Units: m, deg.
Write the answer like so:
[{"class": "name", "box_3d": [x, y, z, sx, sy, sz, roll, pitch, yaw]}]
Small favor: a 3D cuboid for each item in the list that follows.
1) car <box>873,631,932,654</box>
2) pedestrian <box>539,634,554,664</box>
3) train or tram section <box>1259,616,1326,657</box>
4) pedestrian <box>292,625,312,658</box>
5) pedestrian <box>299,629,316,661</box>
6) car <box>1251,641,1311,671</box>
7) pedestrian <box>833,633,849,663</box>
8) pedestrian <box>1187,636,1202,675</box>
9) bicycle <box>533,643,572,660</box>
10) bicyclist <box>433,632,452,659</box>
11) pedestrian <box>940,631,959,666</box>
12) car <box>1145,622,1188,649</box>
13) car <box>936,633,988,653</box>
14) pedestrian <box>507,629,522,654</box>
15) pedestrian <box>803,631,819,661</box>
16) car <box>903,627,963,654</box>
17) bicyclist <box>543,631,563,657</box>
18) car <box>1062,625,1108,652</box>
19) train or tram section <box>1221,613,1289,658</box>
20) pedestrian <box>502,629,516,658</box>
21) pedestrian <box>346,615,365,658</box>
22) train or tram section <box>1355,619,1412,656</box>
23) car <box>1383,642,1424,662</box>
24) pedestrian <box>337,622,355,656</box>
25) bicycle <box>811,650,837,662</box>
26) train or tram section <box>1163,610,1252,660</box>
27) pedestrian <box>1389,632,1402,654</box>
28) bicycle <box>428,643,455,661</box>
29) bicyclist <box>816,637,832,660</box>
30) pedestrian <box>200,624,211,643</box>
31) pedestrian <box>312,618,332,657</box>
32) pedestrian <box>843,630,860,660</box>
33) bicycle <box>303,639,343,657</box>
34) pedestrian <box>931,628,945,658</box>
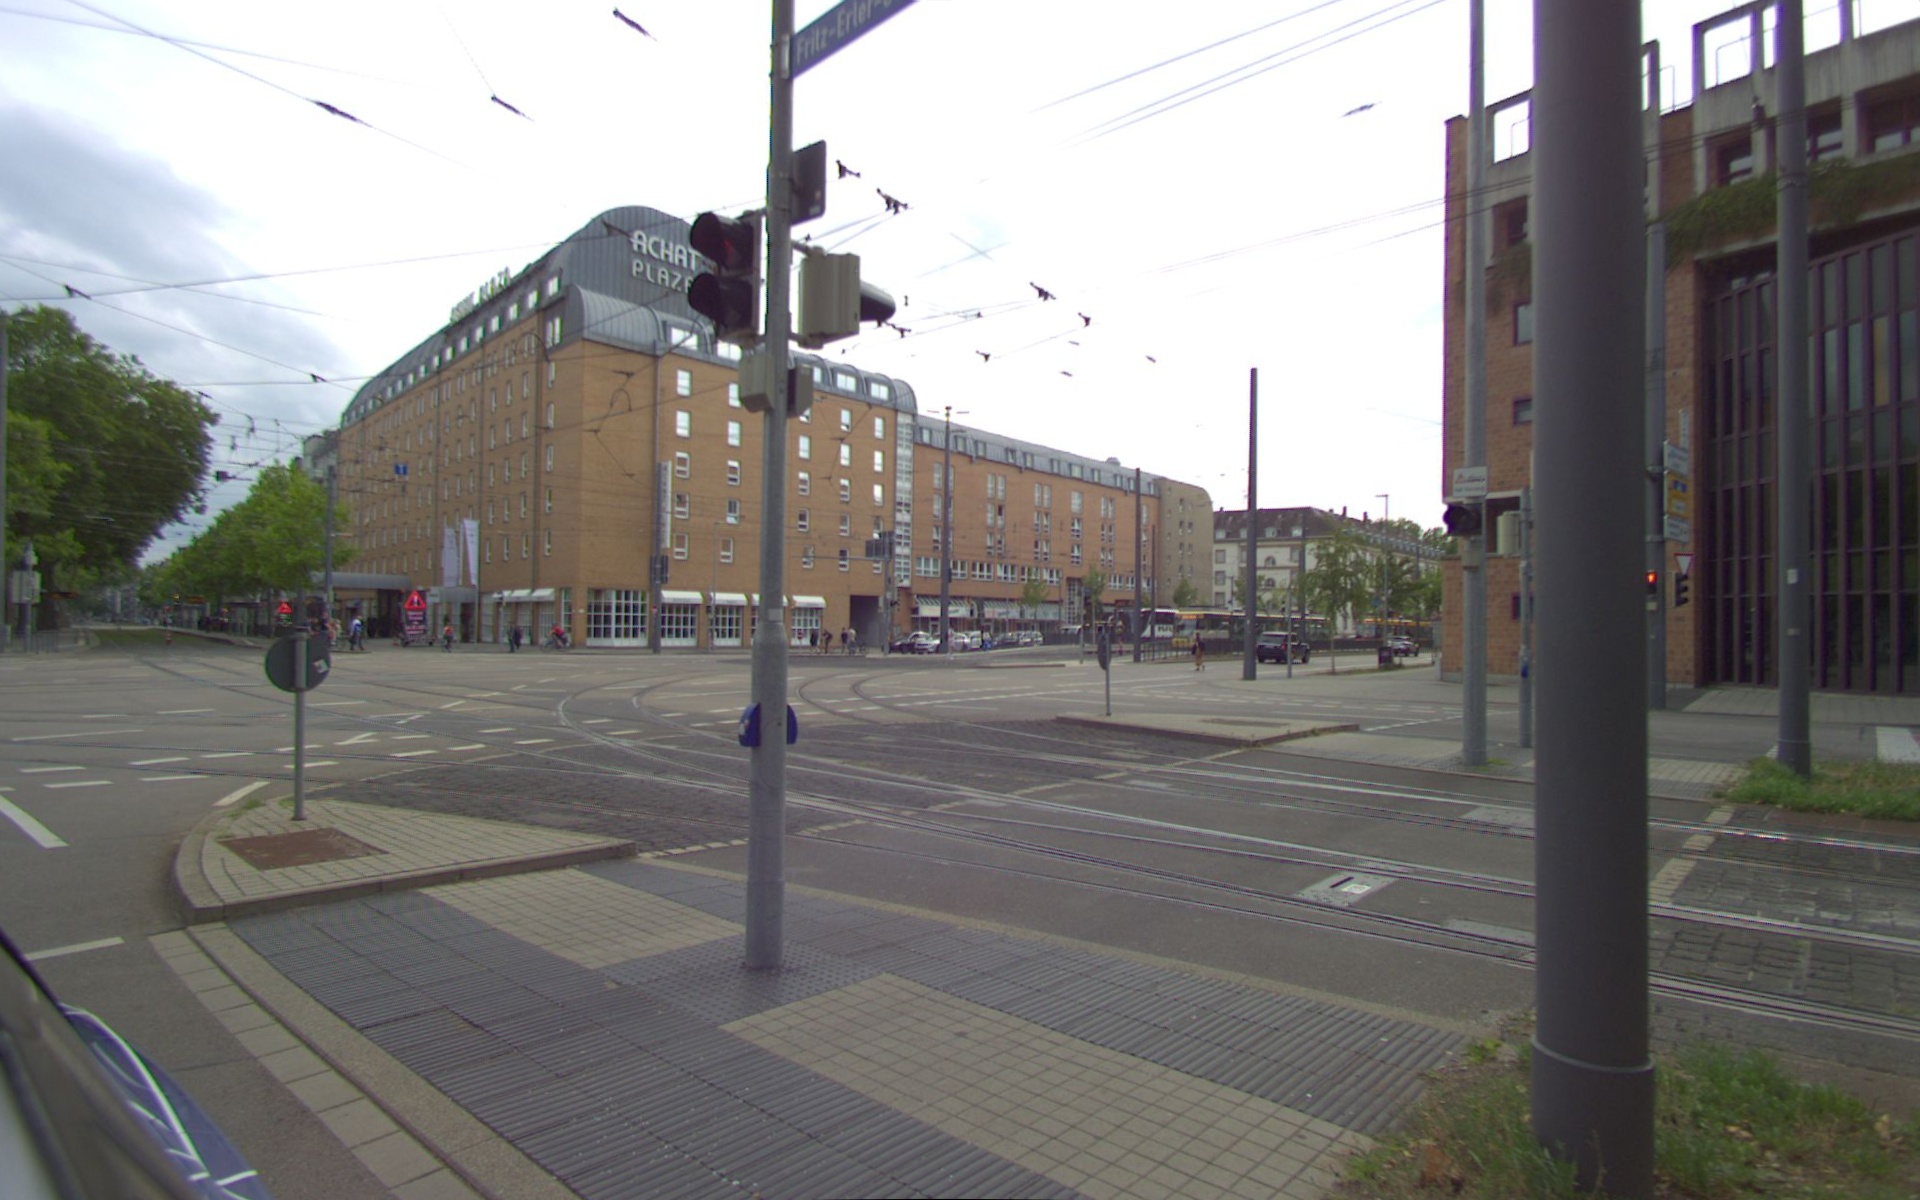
[{"class": "car", "box_3d": [-3.856, 2.861, 68.609, 1.799, 1.490, 3.947, -1, -3, 39]}, {"class": "pedestrian", "box_3d": [-24.741, 2.935, 60.581, 0.738, 1.745, 0.580, 1, -2, -15]}, {"class": "train or tram section", "box_3d": [29.109, 3.207, 88.298, 2.575, 3.477, 8.576, -1, -3, 40]}, {"class": "pedestrian", "box_3d": [-34.717, 2.197, 53.399, 0.533, 1.719, 0.677, 0, -2, 34]}, {"class": "pedestrian", "box_3d": [-35.502, 2.470, 55.032, 0.533, 1.719, 0.557, 0, -2, 34]}, {"class": "car", "box_3d": [18.328, 3.163, 57.687, 1.930, 1.620, 4.476, 0, -2, 36]}, {"class": "pedestrian", "box_3d": [-6.947, 2.814, 59.107, 0.749, 1.745, 0.571, 0, -2, 35]}, {"class": "pedestrian", "box_3d": [10.434, 2.482, 45.075, 0.460, 1.722, 0.475, -1, -3, 45]}, {"class": "bicycle", "box_3d": [-23.938, 3.025, 59.478, 2.028, 1.016, 0.641, 3, -2, -41]}, {"class": "bicyclist", "box_3d": [-29.407, 2.574, 57.487, 0.816, 1.513, 0.643, 0, -2, 38]}, {"class": "pedestrian", "box_3d": [-0.514, 2.462, 51.070, 0.750, 1.745, 0.570, 0, -2, 40]}, {"class": "car", "box_3d": [18.452, 3.204, 90.193, 1.700, 2.337, 5.017, -2, -3, 39]}, {"class": "car", "box_3d": [0.177, 3.148, 74.170, 1.700, 1.453, 3.948, 0, -2, 39]}, {"class": "pedestrian", "box_3d": [-27.500, 2.545, 62.423, 0.642, 1.518, 0.533, 1, -2, 8]}, {"class": "pedestrian", "box_3d": [-9.025, 2.788, 61.399, 0.749, 1.745, 0.571, -1, -3, 35]}, {"class": "car", "box_3d": [-1.763, 2.677, 67.294, 1.799, 1.697, 3.947, 0, -2, 39]}, {"class": "bicyclist", "box_3d": [-23.928, 2.583, 59.500, 0.852, 1.513, 0.637, 3, -2, -42]}, {"class": "car", "box_3d": [10.761, 3.298, 86.834, 1.700, 2.247, 4.772, 0, -2, 39]}, {"class": "train or tram section", "box_3d": [24.004, 2.933, 82.140, 2.575, 3.477, 7.520, -1, -3, 40]}, {"class": "pedestrian", "box_3d": [-26.340, 2.536, 59.087, 0.535, 1.719, 0.556, 0, -2, 42]}, {"class": "pedestrian", "box_3d": [-30.650, 1.851, 51.310, 0.533, 2.146, 0.557, 0, -2, 34]}, {"class": "train or tram section", "box_3d": [41.115, 3.642, 98.021, 2.450, 3.477, 9.479, -1, -3, 40]}, {"class": "car", "box_3d": [34.920, 4.065, 79.627, 1.932, 1.442, 4.246, 0, -2, 39]}, {"class": "pedestrian", "box_3d": [-31.571, 2.003, 52.023, 0.577, 1.719, 0.557, 0, -2, 34]}, {"class": "bicycle", "box_3d": [-9.082, 3.760, 67.797, 0.639, 0.787, 1.773, -1, -3, 39]}, {"class": "train or tram section", "box_3d": [18.621, 2.644, 75.648, 2.575, 3.477, 9.479, -1, -3, 40]}, {"class": "pedestrian", "box_3d": [40.020, 3.971, 93.078, 0.780, 2.029, 1.213, -1, -3, 41]}, {"class": "bicycle", "box_3d": [-29.474, 2.942, 57.527, 1.890, 0.943, 0.651, 0, -2, 38]}, {"class": "bicyclist", "box_3d": [-9.110, 3.232, 67.783, 0.636, 1.513, 0.854, -1, -3, 40]}, {"class": "pedestrian", "box_3d": [-66.669, 2.972, 89.430, 0.639, 1.719, 0.625, 3, -3, -43]}, {"class": "pedestrian", "box_3d": [-32.860, 1.943, 52.148, 0.534, 1.967, 0.684, 0, -2, 40]}, {"class": "pedestrian", "box_3d": [-6.406, 2.652, 59.862, 0.749, 1.745, 0.571, 0, -2, 35]}, {"class": "bicycle", "box_3d": [-32.996, 2.500, 52.434, 0.500, 0.895, 1.687, -1, -2, 45]}, {"class": "pedestrian", "box_3d": [-1.288, 2.525, 59.295, 0.576, 1.745, 0.625, 0, -2, 31]}]
